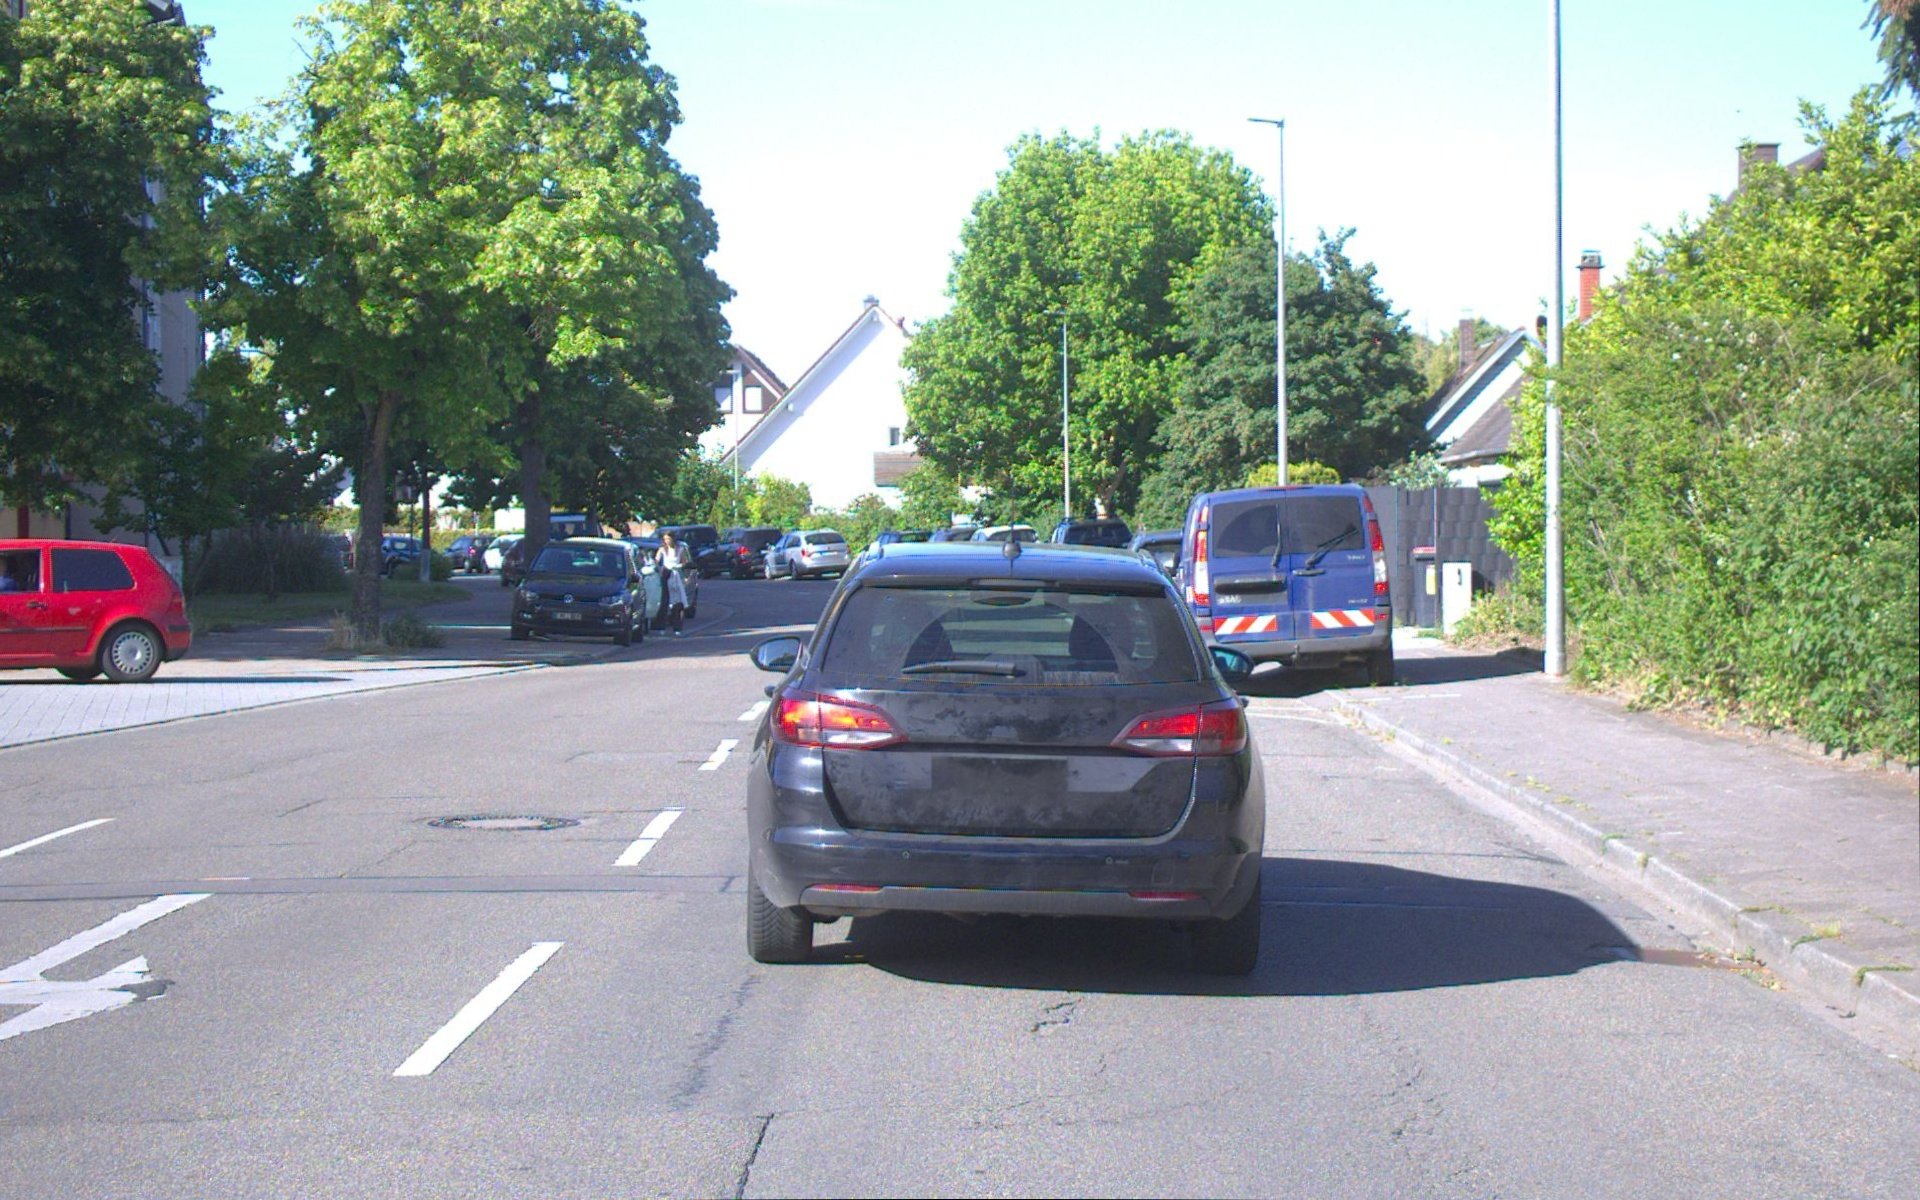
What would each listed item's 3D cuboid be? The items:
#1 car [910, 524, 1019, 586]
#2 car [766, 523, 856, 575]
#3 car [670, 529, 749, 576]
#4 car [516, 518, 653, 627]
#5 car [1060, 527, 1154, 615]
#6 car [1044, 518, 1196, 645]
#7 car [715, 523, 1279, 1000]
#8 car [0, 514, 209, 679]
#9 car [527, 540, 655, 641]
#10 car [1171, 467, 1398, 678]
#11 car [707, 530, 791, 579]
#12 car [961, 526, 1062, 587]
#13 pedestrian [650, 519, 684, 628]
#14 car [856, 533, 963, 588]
[{"bbox_3d":[0.087,-1.190,91.510,1.911,1.595,4.295,-1,1,-14],"label":"car"},{"bbox_3d":[-4.611,-1.558,105.862,1.819,1.529,4.260,-1,1,-16],"label":"car"},{"bbox_3d":[-8.517,-1.587,116.523,1.819,1.529,4.260,-1,1,-16],"label":"car"},{"bbox_3d":[-5.412,-0.372,49.922,1.700,1.475,4.052,1,0,-3],"label":"car"},{"bbox_3d":[3.002,-0.608,70.878,1.778,1.718,4.294,-1,1,1],"label":"car"},{"bbox_3d":[1.996,-0.285,44.074,1.765,1.475,4.992,-2,2,1],"label":"car"},{"bbox_3d":[0.132,0.487,12.981,1.762,1.486,4.291,1,1,0],"label":"car"},{"bbox_3d":[-9.879,-0.054,33.926,4.379,1.563,2.018,0,2,-35],"label":"car"},{"bbox_3d":[-5.924,-0.140,55.513,1.700,1.518,4.052,-2,0,-2],"label":"car"},{"bbox_3d":[3.070,-0.295,33.376,1.836,1.901,4.698,0,1,1],"label":"car"},{"bbox_3d":[-6.850,-1.447,111.108,1.819,1.529,4.260,-1,1,-16],"label":"car"},{"bbox_3d":[1.270,-1.085,86.786,1.760,1.475,4.295,-1,1,-10],"label":"car"},{"bbox_3d":[-4.789,-0.428,56.133,0.504,1.755,0.695,-1,-1,-3],"label":"pedestrian"},{"bbox_3d":[-1.449,-1.098,96.782,2.005,1.470,4.295,-1,1,-15],"label":"car"}]
